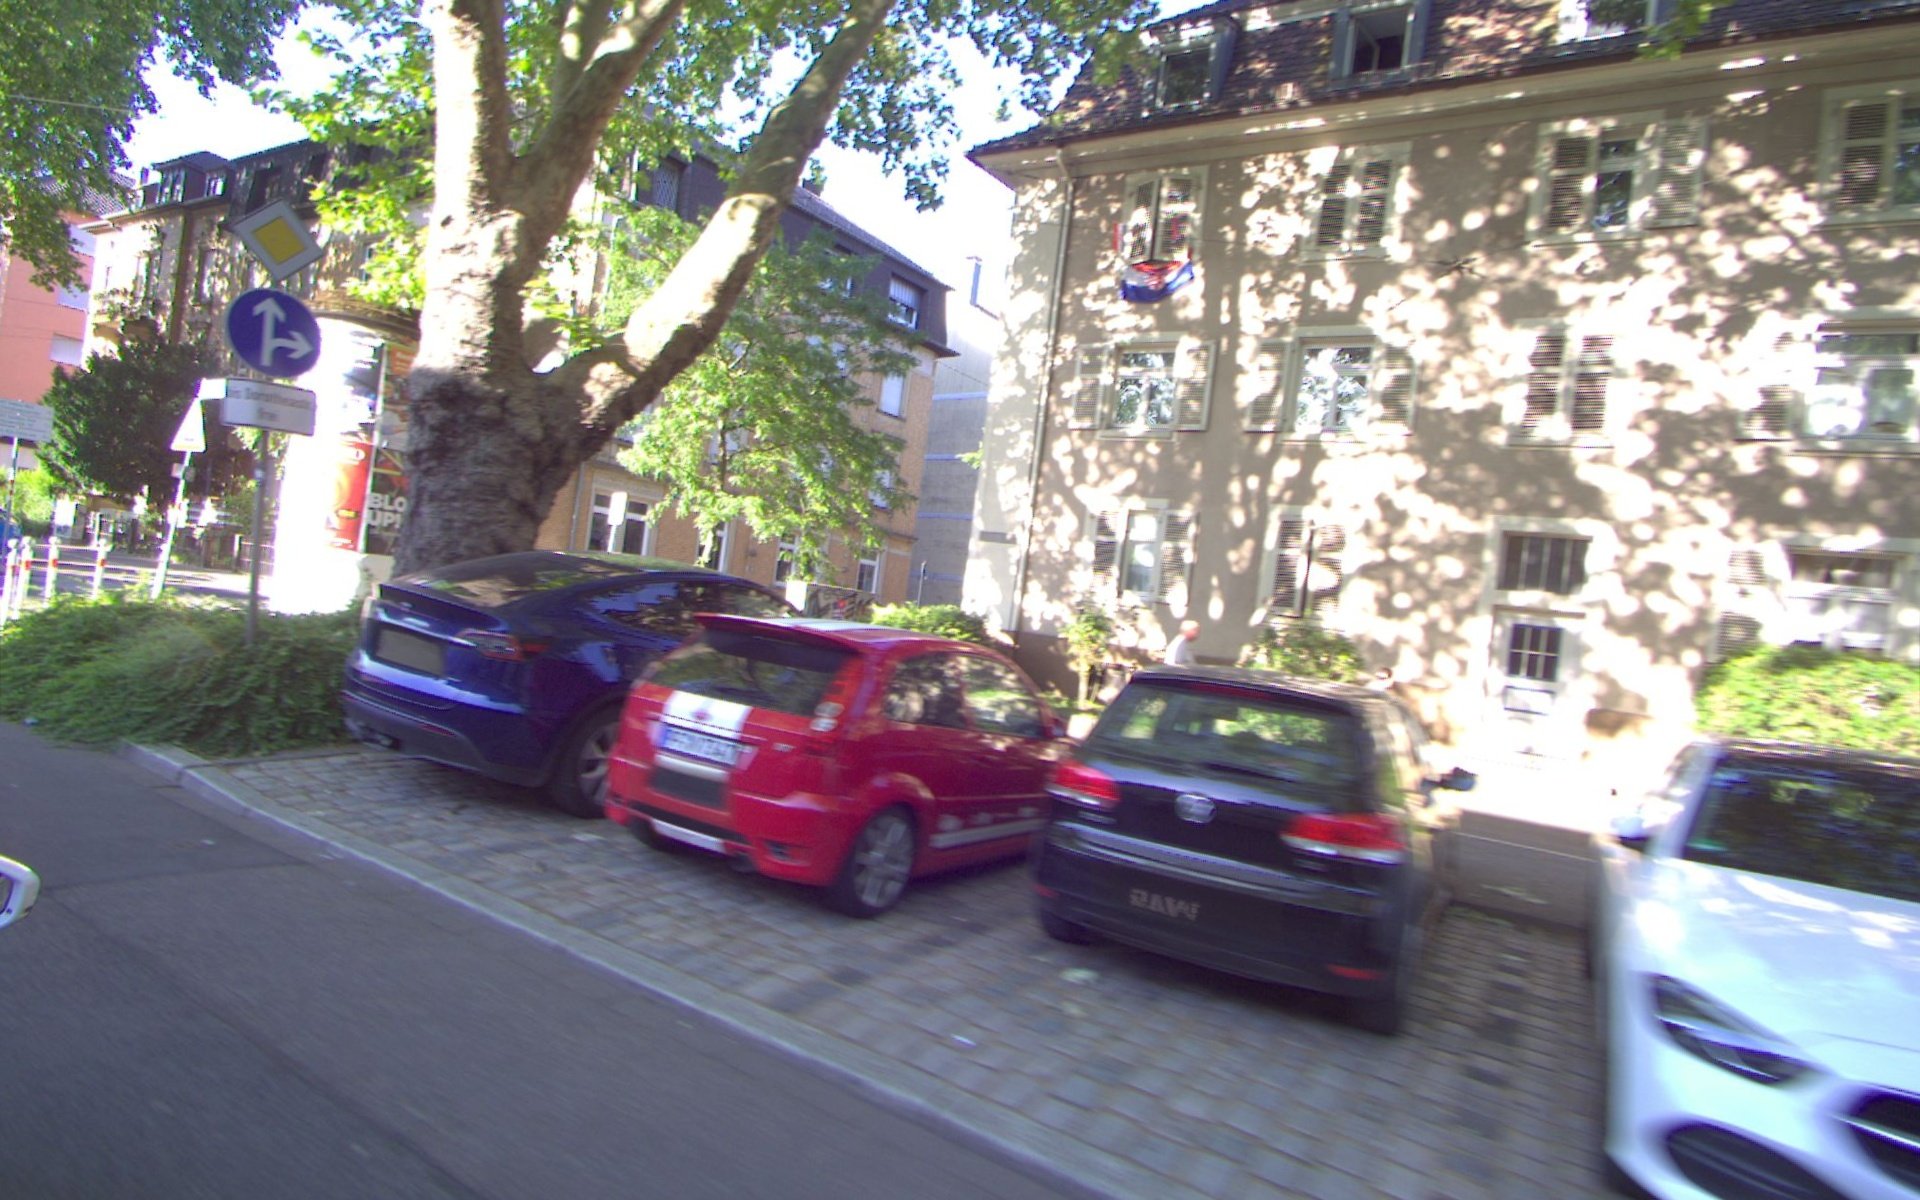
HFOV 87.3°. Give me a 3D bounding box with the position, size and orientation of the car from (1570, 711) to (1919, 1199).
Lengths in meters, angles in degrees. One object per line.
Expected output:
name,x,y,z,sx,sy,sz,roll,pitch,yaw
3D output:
car,3.593,1.317,3.955,1.860,1.463,4.695,7,-2,31

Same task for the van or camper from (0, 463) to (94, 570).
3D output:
van or camper,-21.730,-2.069,20.535,2.205,2.037,5.570,10,0,27

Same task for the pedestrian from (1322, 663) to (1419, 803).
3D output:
pedestrian,4.817,1.539,11.794,0.807,1.472,0.662,7,0,31

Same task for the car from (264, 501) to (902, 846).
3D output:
car,-2.378,0.508,7.388,1.927,1.689,3.932,7,-1,29

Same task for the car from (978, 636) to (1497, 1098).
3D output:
car,1.887,1.146,5.704,1.724,1.452,3.890,7,-2,31

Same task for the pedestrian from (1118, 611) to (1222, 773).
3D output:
pedestrian,2.494,1.082,11.935,0.807,1.760,0.761,7,0,31

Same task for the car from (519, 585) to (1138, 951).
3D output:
car,-0.499,0.875,6.321,1.858,1.394,3.656,7,-2,32
